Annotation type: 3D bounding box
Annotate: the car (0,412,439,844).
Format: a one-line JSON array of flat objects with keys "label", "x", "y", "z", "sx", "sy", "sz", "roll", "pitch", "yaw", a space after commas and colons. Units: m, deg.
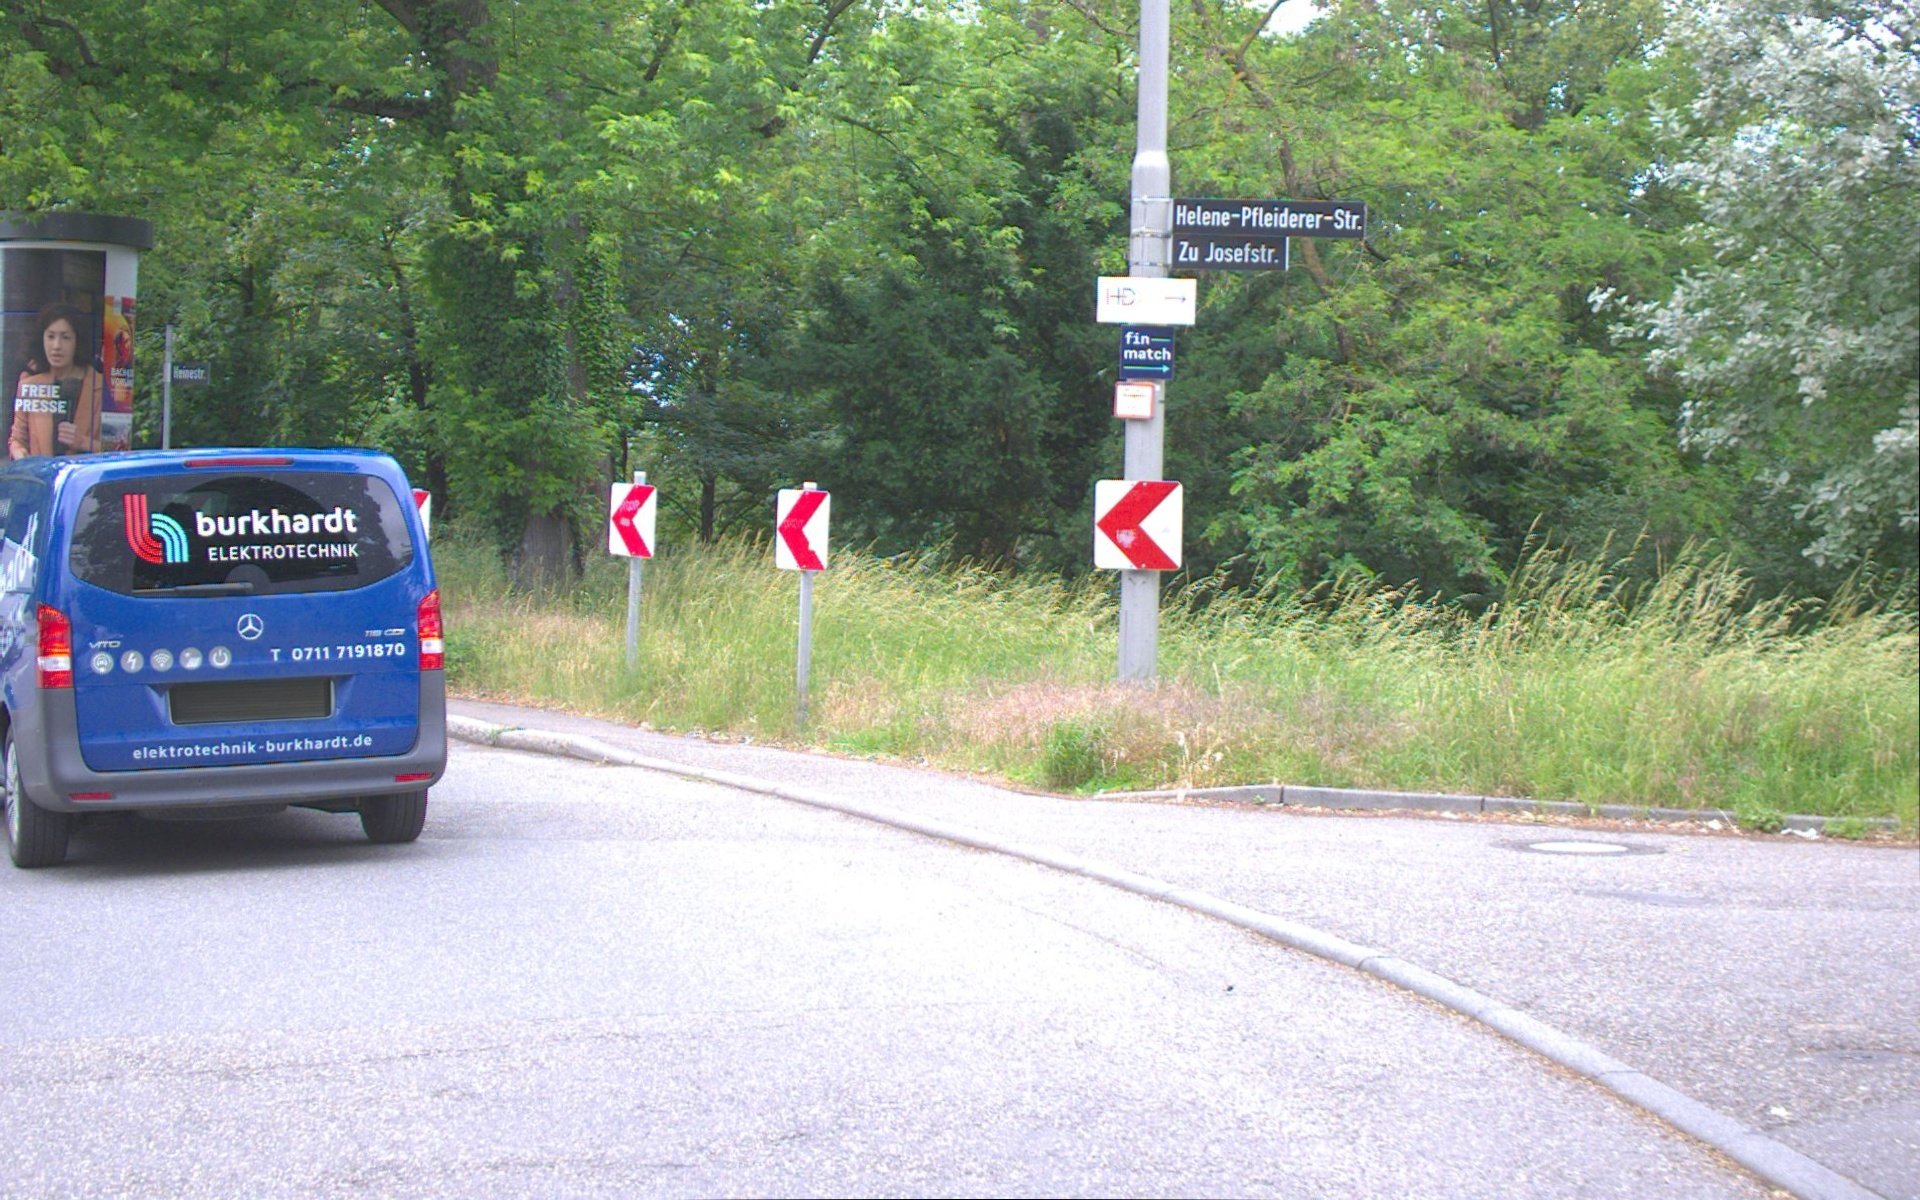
[{"label": "car", "x": -3.911, "y": 0.083, "z": 16.871, "sx": 1.913, "sy": 1.831, "sz": 4.295, "roll": 0, "pitch": 1, "yaw": -19}]
